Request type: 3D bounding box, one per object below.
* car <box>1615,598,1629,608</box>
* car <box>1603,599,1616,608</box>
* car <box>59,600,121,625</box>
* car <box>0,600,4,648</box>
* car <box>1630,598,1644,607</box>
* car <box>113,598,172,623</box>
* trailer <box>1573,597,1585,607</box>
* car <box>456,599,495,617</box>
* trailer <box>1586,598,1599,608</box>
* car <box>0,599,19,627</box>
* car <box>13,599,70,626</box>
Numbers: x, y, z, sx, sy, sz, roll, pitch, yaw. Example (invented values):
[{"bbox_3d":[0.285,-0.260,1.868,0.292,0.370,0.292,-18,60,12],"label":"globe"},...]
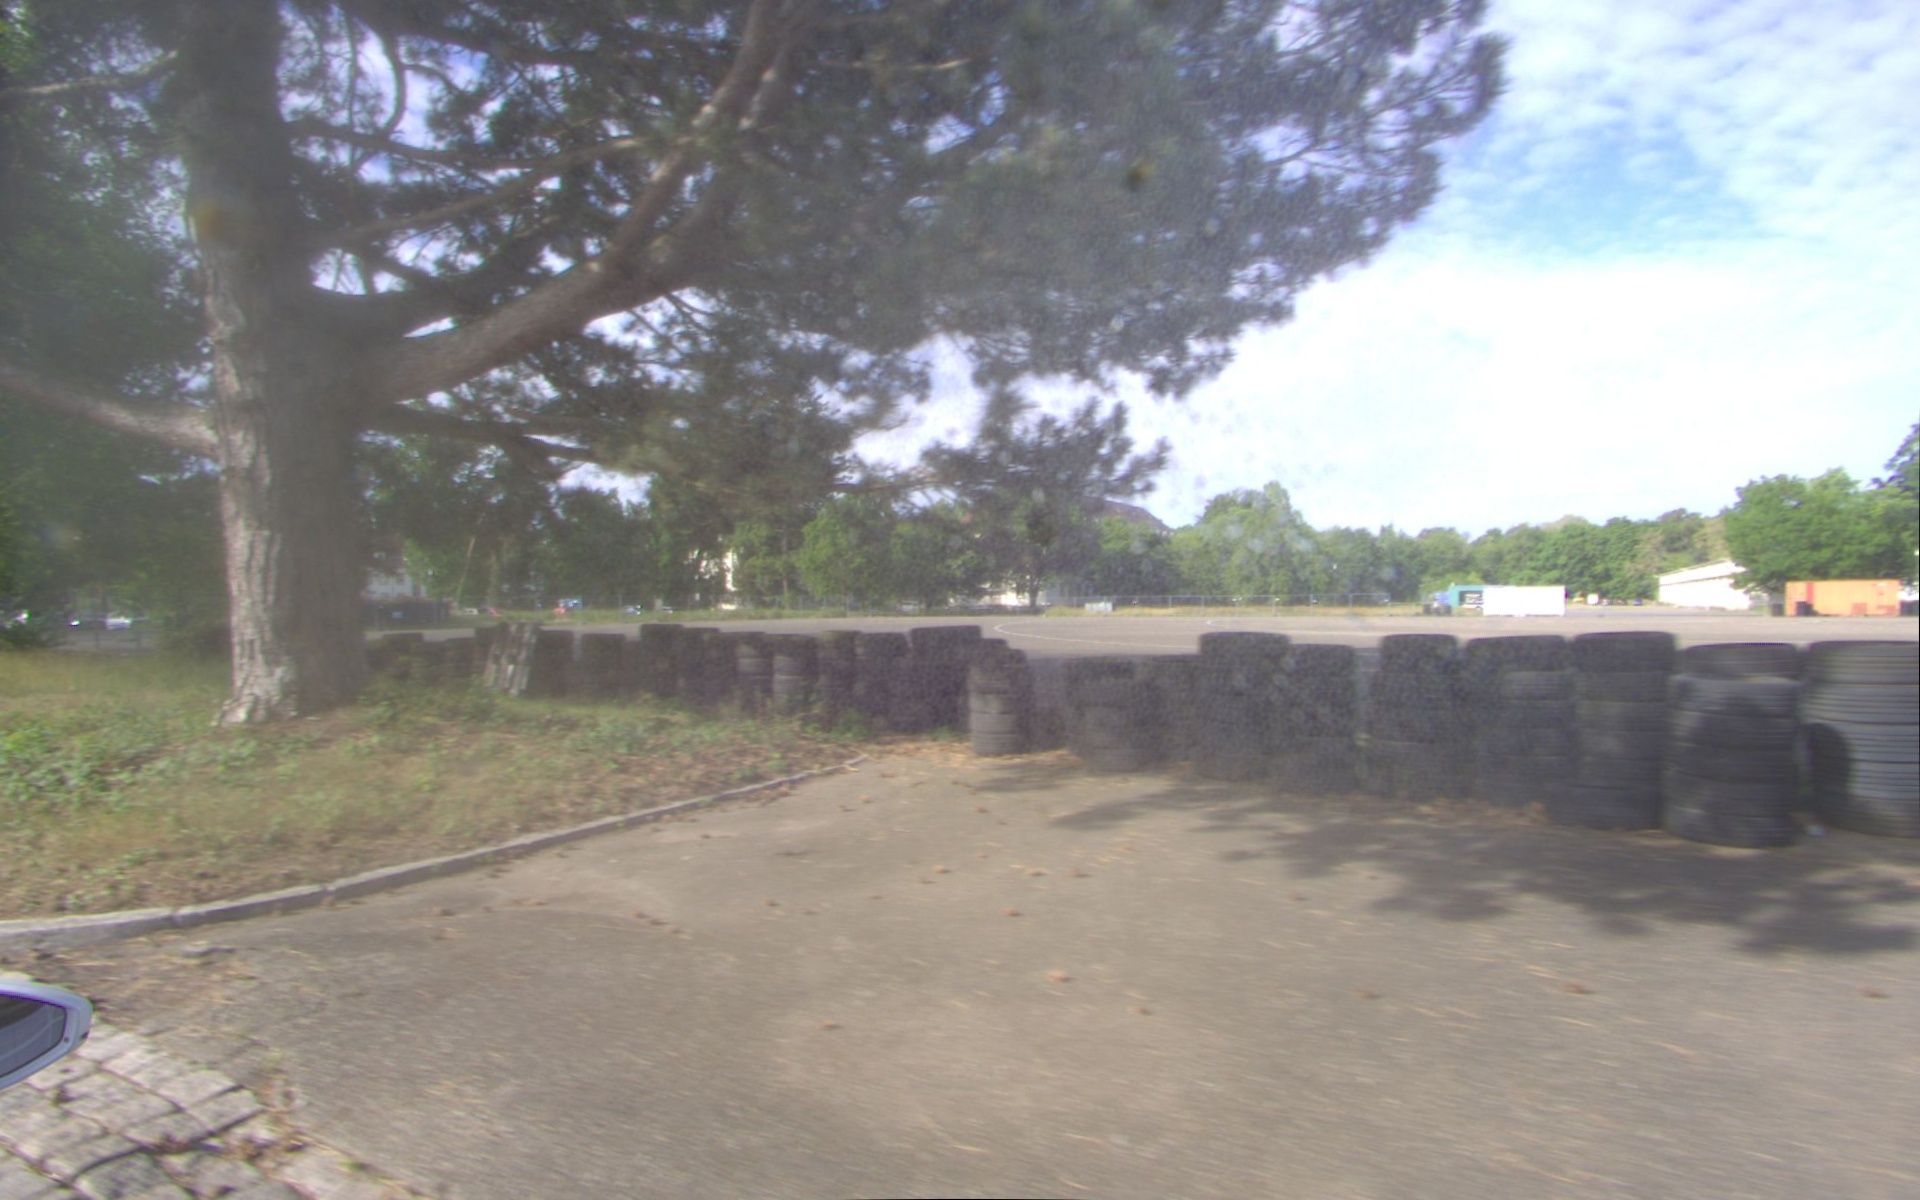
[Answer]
[{"bbox_3d":[135.628,0.616,205.091,2.006,1.832,3.983,0,0,28],"label":"car"},{"bbox_3d":[133.620,0.658,206.104,1.969,1.773,3.983,0,0,28],"label":"car"},{"bbox_3d":[-57.366,0.805,66.030,3.942,1.639,1.989,0,1,32],"label":"car"},{"bbox_3d":[-33.589,0.797,33.192,3.943,1.561,1.882,0,0,33],"label":"car"},{"bbox_3d":[137.768,0.506,203.778,1.969,1.773,3.983,0,0,28],"label":"car"},{"bbox_3d":[-56.093,0.720,68.688,3.942,1.639,1.989,0,1,32],"label":"car"},{"bbox_3d":[130.627,0.500,211.416,1.970,2.040,3.982,0,0,29],"label":"trailer"},{"bbox_3d":[-48.891,0.797,101.076,3.948,1.773,1.986,0,0,37],"label":"car"},{"bbox_3d":[132.030,0.536,208.993,2.034,2.040,3.981,0,0,30],"label":"trailer"},{"bbox_3d":[-59.635,0.792,61.291,3.942,1.639,1.989,0,1,32],"label":"car"},{"bbox_3d":[-58.445,0.765,63.722,3.945,1.639,1.816,0,1,34],"label":"car"}]
